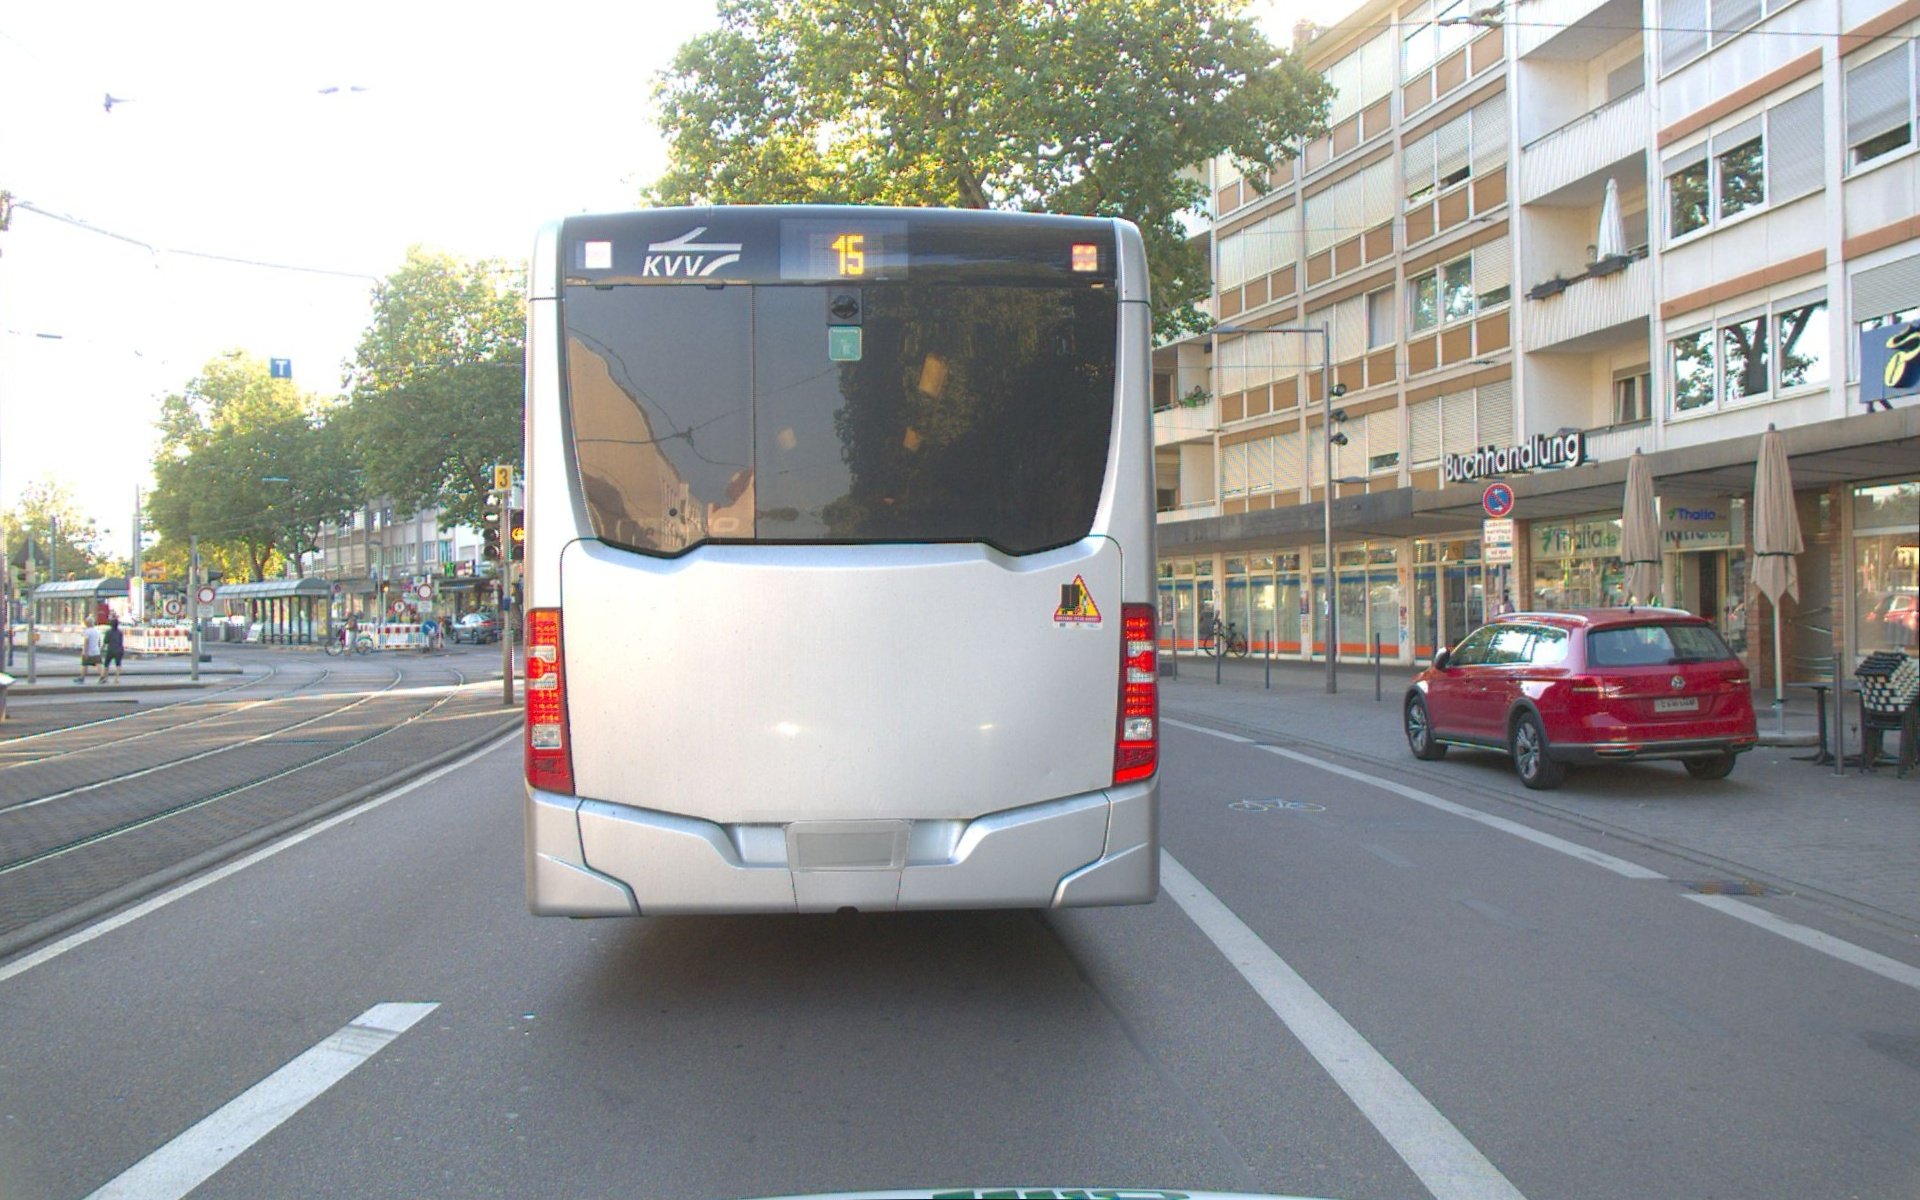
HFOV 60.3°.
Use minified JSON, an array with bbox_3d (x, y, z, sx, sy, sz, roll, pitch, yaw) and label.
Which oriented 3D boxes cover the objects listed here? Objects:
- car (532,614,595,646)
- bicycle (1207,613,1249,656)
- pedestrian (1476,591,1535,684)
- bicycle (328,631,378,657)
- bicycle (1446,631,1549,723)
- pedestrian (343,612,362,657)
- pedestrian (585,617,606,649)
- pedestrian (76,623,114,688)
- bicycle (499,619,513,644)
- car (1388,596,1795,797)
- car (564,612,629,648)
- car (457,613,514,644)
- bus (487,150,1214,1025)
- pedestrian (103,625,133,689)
[{"bbox_3d":[-19.272,1.454,80.265,1.652,1.419,3.364,-4,2,-39],"label":"car"},{"bbox_3d":[7.311,0.935,45.129,0.431,1.111,1.453,-3,0,-20],"label":"bicycle"},{"bbox_3d":[9.514,0.649,28.880,0.629,1.579,0.804,-1,-1,-15],"label":"pedestrian"},{"bbox_3d":[-23.956,1.739,65.277,1.813,0.959,0.461,-1,-1,-20],"label":"bicycle"},{"bbox_3d":[6.901,0.972,21.301,0.502,1.089,1.657,-3,0,-10],"label":"bicycle"},{"bbox_3d":[-23.803,1.339,64.811,0.709,1.755,0.397,-1,-1,-21],"label":"pedestrian"},{"bbox_3d":[-15.172,1.369,68.848,0.766,1.326,0.590,-1,-1,-22],"label":"pedestrian"},{"bbox_3d":[-20.658,1.310,39.501,0.509,1.530,0.594,-1,-1,16],"label":"pedestrian"},{"bbox_3d":[-23.102,1.608,84.167,0.500,1.232,2.079,0,0,-21],"label":"bicycle"},{"bbox_3d":[5.700,0.790,15.639,1.744,1.522,4.563,-3,0,-5],"label":"car"},{"bbox_3d":[-16.951,1.381,76.983,1.650,1.543,3.367,-4,2,-37],"label":"car"},{"bbox_3d":[-25.042,1.504,87.240,1.651,1.494,3.365,-4,2,-38],"label":"car"},{"bbox_3d":[-0.610,-0.007,11.130,2.605,3.153,10.210,-1,-1,-3],"label":"bus"},{"bbox_3d":[-20.429,1.380,40.149,0.399,1.530,0.517,-1,-1,15],"label":"pedestrian"}]
